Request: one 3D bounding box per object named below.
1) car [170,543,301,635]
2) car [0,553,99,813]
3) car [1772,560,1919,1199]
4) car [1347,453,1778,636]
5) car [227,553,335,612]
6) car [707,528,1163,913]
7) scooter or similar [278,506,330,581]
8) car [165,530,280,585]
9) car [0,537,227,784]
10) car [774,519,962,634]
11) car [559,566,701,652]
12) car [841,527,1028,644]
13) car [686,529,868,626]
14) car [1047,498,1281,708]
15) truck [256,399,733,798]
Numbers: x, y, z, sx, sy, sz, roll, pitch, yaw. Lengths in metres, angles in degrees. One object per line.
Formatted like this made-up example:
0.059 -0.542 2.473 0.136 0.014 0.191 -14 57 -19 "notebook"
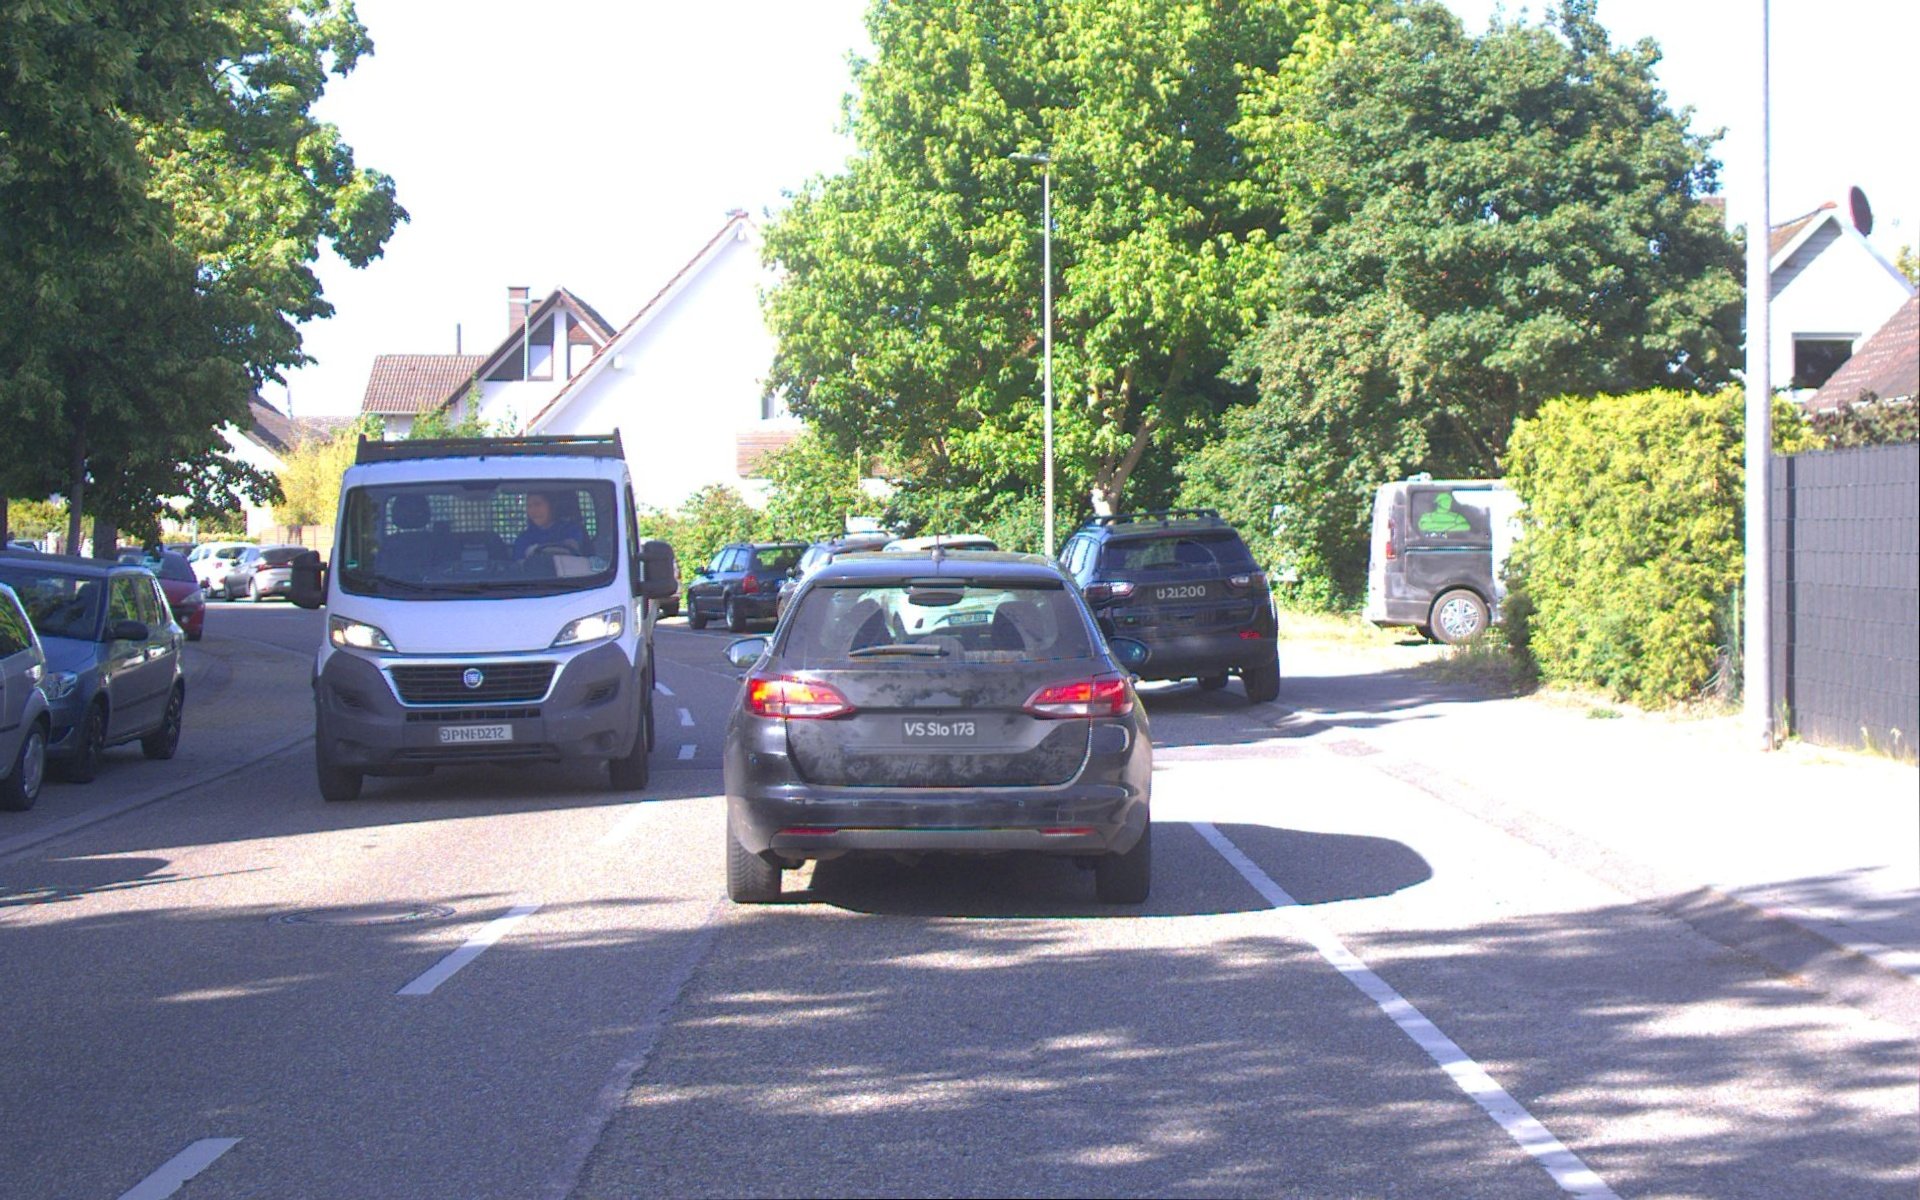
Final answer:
-12.202 -0.206 57.747 1.688 1.486 4.292 -1 1 -18 "car"
-6.412 0.493 20.183 1.657 1.504 4.000 -1 1 1 "car"
2.507 0.710 4.213 1.765 1.475 4.992 -2 2 0 "car"
7.119 -0.662 40.982 4.680 1.977 2.143 -2 1 -1 "car"
-17.445 -0.440 88.171 1.916 1.402 4.295 -2 1 -22 "car"
-0.135 0.439 15.481 1.761 1.486 4.291 0 1 -1 "car"
-18.683 -1.605 97.845 0.685 2.007 2.962 -2 -1 -25 "scooter or similar"
-20.175 -1.144 93.946 1.916 1.402 4.294 -2 1 -28 "car"
-6.511 0.363 24.749 1.567 1.524 3.918 3 2 0 "car"
-1.432 -0.357 51.646 1.911 1.595 4.295 -2 1 -14 "car"
-6.348 0.147 65.740 1.819 1.529 4.260 -2 1 -17 "car"
-0.402 -0.209 47.128 1.760 1.475 4.295 -2 1 -11 "car"
-3.074 -0.375 56.890 2.005 1.470 4.295 -2 1 -17 "car"
1.785 -0.007 31.308 1.778 1.718 4.294 -2 1 -1 "car"
-3.023 -0.075 23.959 2.130 2.326 6.442 -2 1 2 "truck"
